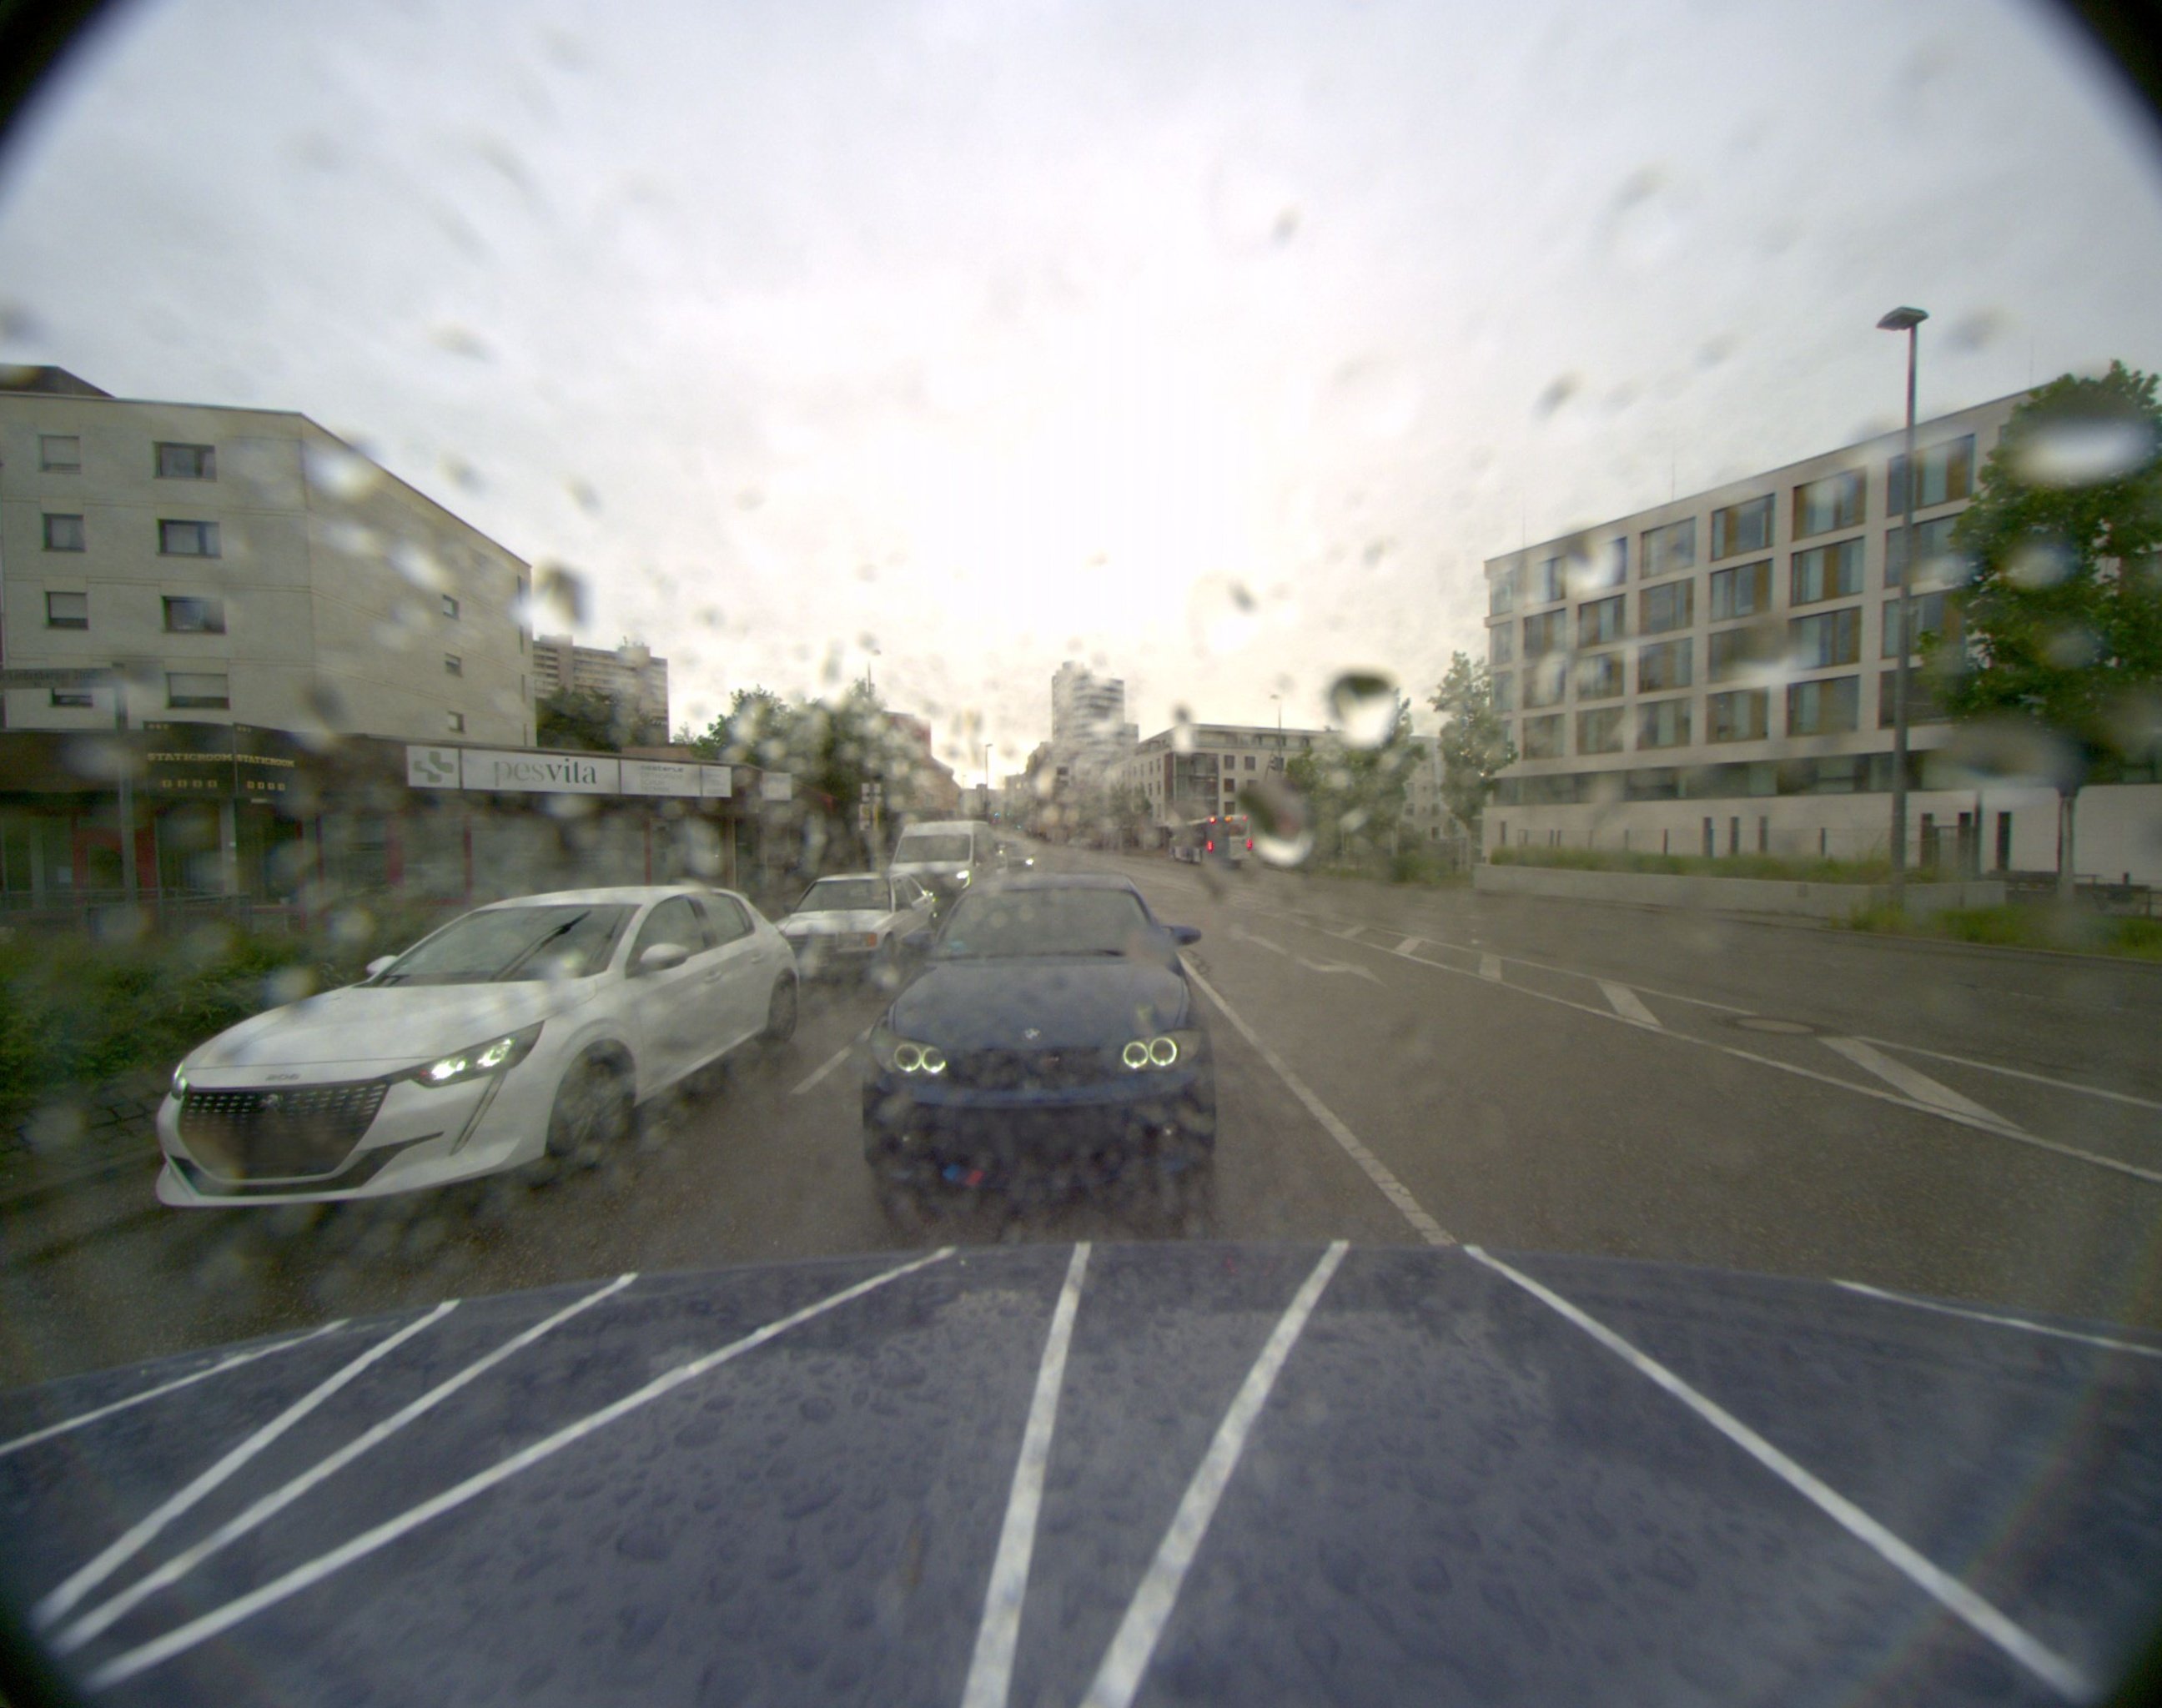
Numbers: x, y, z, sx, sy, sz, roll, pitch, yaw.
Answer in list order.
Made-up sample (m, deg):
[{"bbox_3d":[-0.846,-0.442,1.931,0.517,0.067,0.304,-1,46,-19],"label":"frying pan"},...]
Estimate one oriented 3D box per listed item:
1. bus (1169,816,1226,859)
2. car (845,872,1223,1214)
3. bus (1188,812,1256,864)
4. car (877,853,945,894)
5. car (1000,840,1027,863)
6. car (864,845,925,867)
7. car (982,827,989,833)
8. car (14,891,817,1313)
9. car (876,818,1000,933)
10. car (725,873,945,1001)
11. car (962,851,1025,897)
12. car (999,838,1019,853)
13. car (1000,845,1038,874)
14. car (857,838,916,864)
[{"bbox_3d":[8.880,-1.230,58.942,2.799,3.096,8.881,-1,1,-1],"label":"bus"},{"bbox_3d":[-0.257,0.917,5.497,1.693,1.380,3.999,-2,1,-1],"label":"car"},{"bbox_3d":[9.045,-1.005,49.880,2.783,3.096,9.367,-1,1,0],"label":"bus"},{"bbox_3d":[-6.981,0.770,31.554,1.788,1.481,4.000,-2,1,1],"label":"car"},{"bbox_3d":[-6.103,-0.282,69.243,1.998,2.002,3.999,0,1,1],"label":"car"},{"bbox_3d":[-13.006,0.118,53.110,4.000,1.419,1.882,-1,1,-10],"label":"car"},{"bbox_3d":[-26.713,-6.749,211.515,1.666,1.625,3.801,-2,1,-11],"label":"car"},{"bbox_3d":[-3.361,1.092,5.081,1.666,1.407,4.114,-2,1,1],"label":"car"},{"bbox_3d":[-3.491,0.408,19.883,2.197,2.503,6.120,-1,1,-2],"label":"car"},{"bbox_3d":[-3.345,1.061,11.255,1.788,1.338,4.162,-2,1,1],"label":"car"},{"bbox_3d":[-3.235,0.707,28.860,1.803,1.530,3.999,-2,1,1],"label":"car"},{"bbox_3d":[-8.375,-0.964,88.746,1.879,1.745,4.000,1,0,1],"label":"car"},{"bbox_3d":[-3.750,0.298,46.504,1.999,1.559,3.998,-2,1,-1],"label":"car"},{"bbox_3d":[-14.078,-0.232,55.296,4.000,1.769,1.882,-1,1,-10],"label":"car"}]
